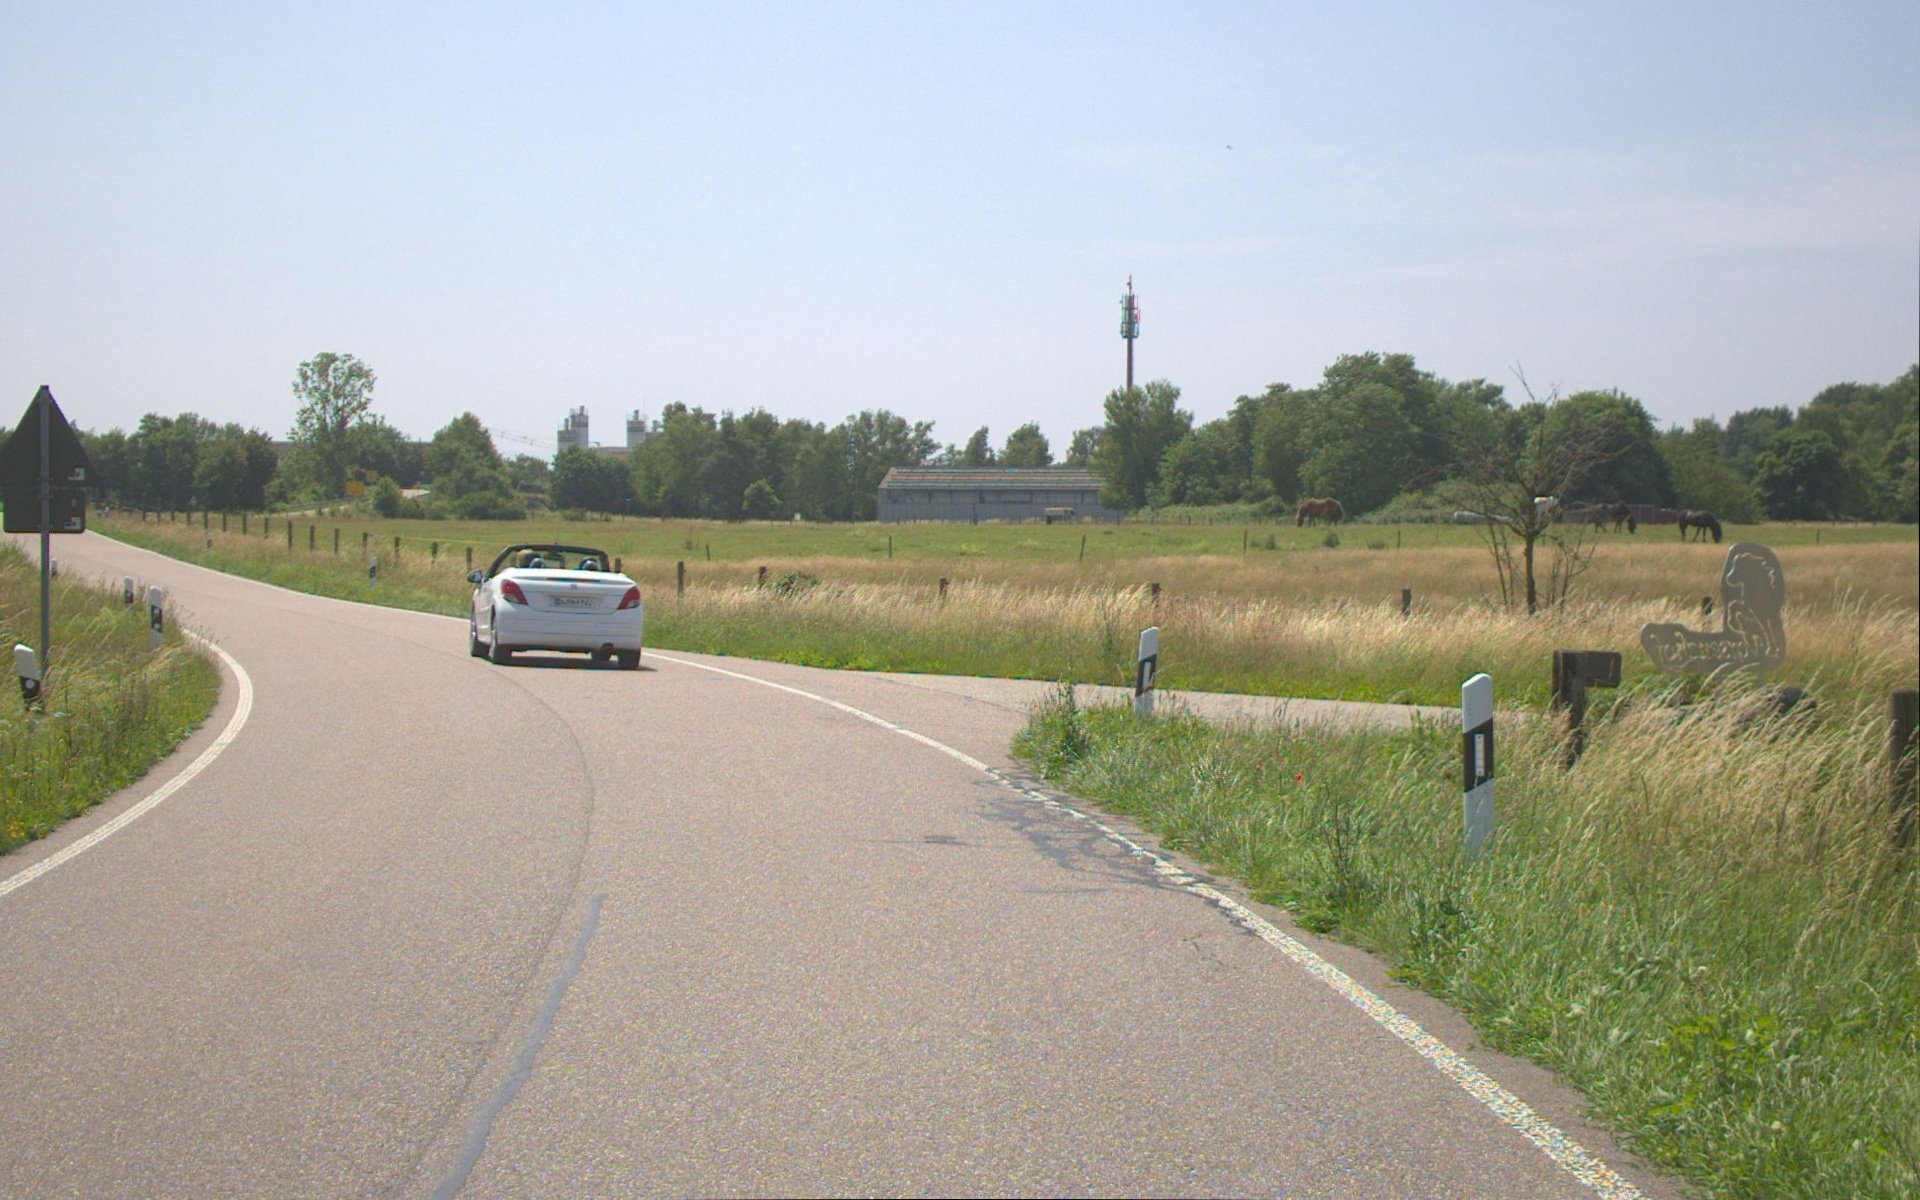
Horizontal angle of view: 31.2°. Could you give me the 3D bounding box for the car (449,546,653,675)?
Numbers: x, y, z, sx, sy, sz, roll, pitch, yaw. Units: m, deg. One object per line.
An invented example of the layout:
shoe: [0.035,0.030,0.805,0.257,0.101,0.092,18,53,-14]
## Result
car: [-4.846,0.110,40.295,1.850,1.375,4.001,2,0,-14]
